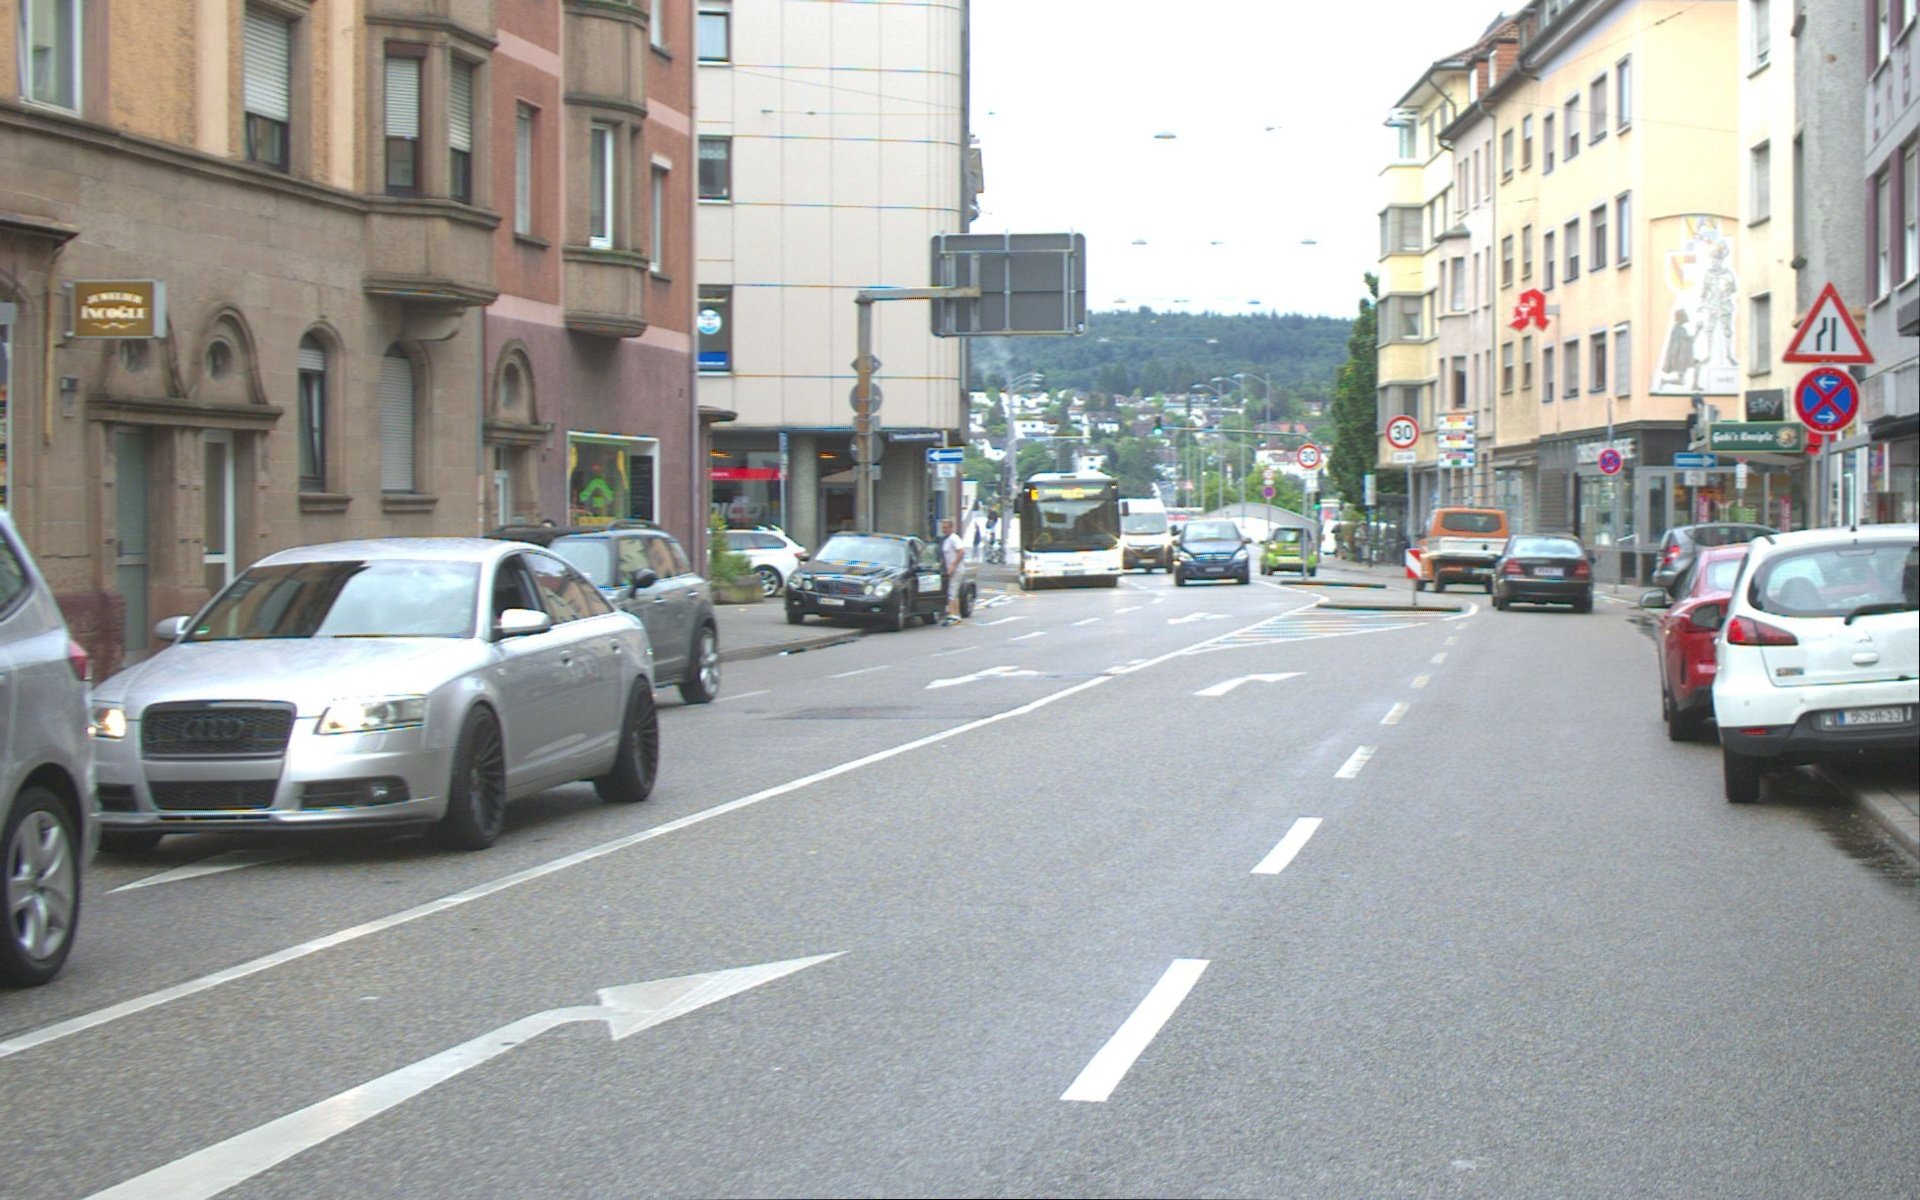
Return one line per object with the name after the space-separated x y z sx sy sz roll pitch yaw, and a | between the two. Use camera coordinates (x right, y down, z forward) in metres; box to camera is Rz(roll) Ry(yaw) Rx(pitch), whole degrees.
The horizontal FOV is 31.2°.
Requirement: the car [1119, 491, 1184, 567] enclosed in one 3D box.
6.297 -2.309 112.935 2.086 2.427 6.352 0 1 3 | car

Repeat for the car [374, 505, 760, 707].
-3.253 0.030 29.387 1.982 1.589 4.335 0 1 12 | car

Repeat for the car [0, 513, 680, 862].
-2.857 0.341 16.857 1.943 1.465 4.558 0 1 9 | car

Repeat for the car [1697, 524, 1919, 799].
5.351 0.303 20.795 1.648 1.489 4.446 0 1 11 | car

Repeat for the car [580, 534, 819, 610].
-5.452 -0.593 71.865 4.627 1.527 1.907 -1 1 -19 | car

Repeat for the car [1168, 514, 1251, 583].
6.157 -1.276 85.129 1.754 1.646 4.307 0 1 0 | car

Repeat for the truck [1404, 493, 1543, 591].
11.599 -1.309 77.968 2.400 2.122 5.315 0 1 1 | truck

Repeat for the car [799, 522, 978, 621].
-1.060 -0.478 53.629 1.851 1.393 4.791 3 2 10 | car

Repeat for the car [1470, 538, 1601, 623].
10.379 -0.366 62.213 1.754 1.474 4.000 0 1 1 | car

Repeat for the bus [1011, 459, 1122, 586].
2.739 -2.008 90.696 2.758 3.177 8.912 0 1 1 | bus

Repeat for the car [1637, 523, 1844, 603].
15.771 -0.750 69.612 3.825 1.568 1.936 0 1 4 | car

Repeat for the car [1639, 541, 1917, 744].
6.156 0.267 26.262 1.744 1.364 4.313 0 2 9 | car

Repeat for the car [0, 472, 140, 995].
-4.041 0.422 9.350 1.943 1.578 4.519 0 1 9 | car

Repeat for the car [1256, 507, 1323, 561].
10.234 -2.043 106.829 1.754 1.646 4.000 0 1 1 | car

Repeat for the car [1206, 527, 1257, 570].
10.649 -2.027 135.122 1.754 1.646 4.000 0 1 1 | car

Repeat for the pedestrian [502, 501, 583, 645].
-5.000 -0.329 41.207 0.842 1.673 0.853 2 0 -3 | pedestrian
